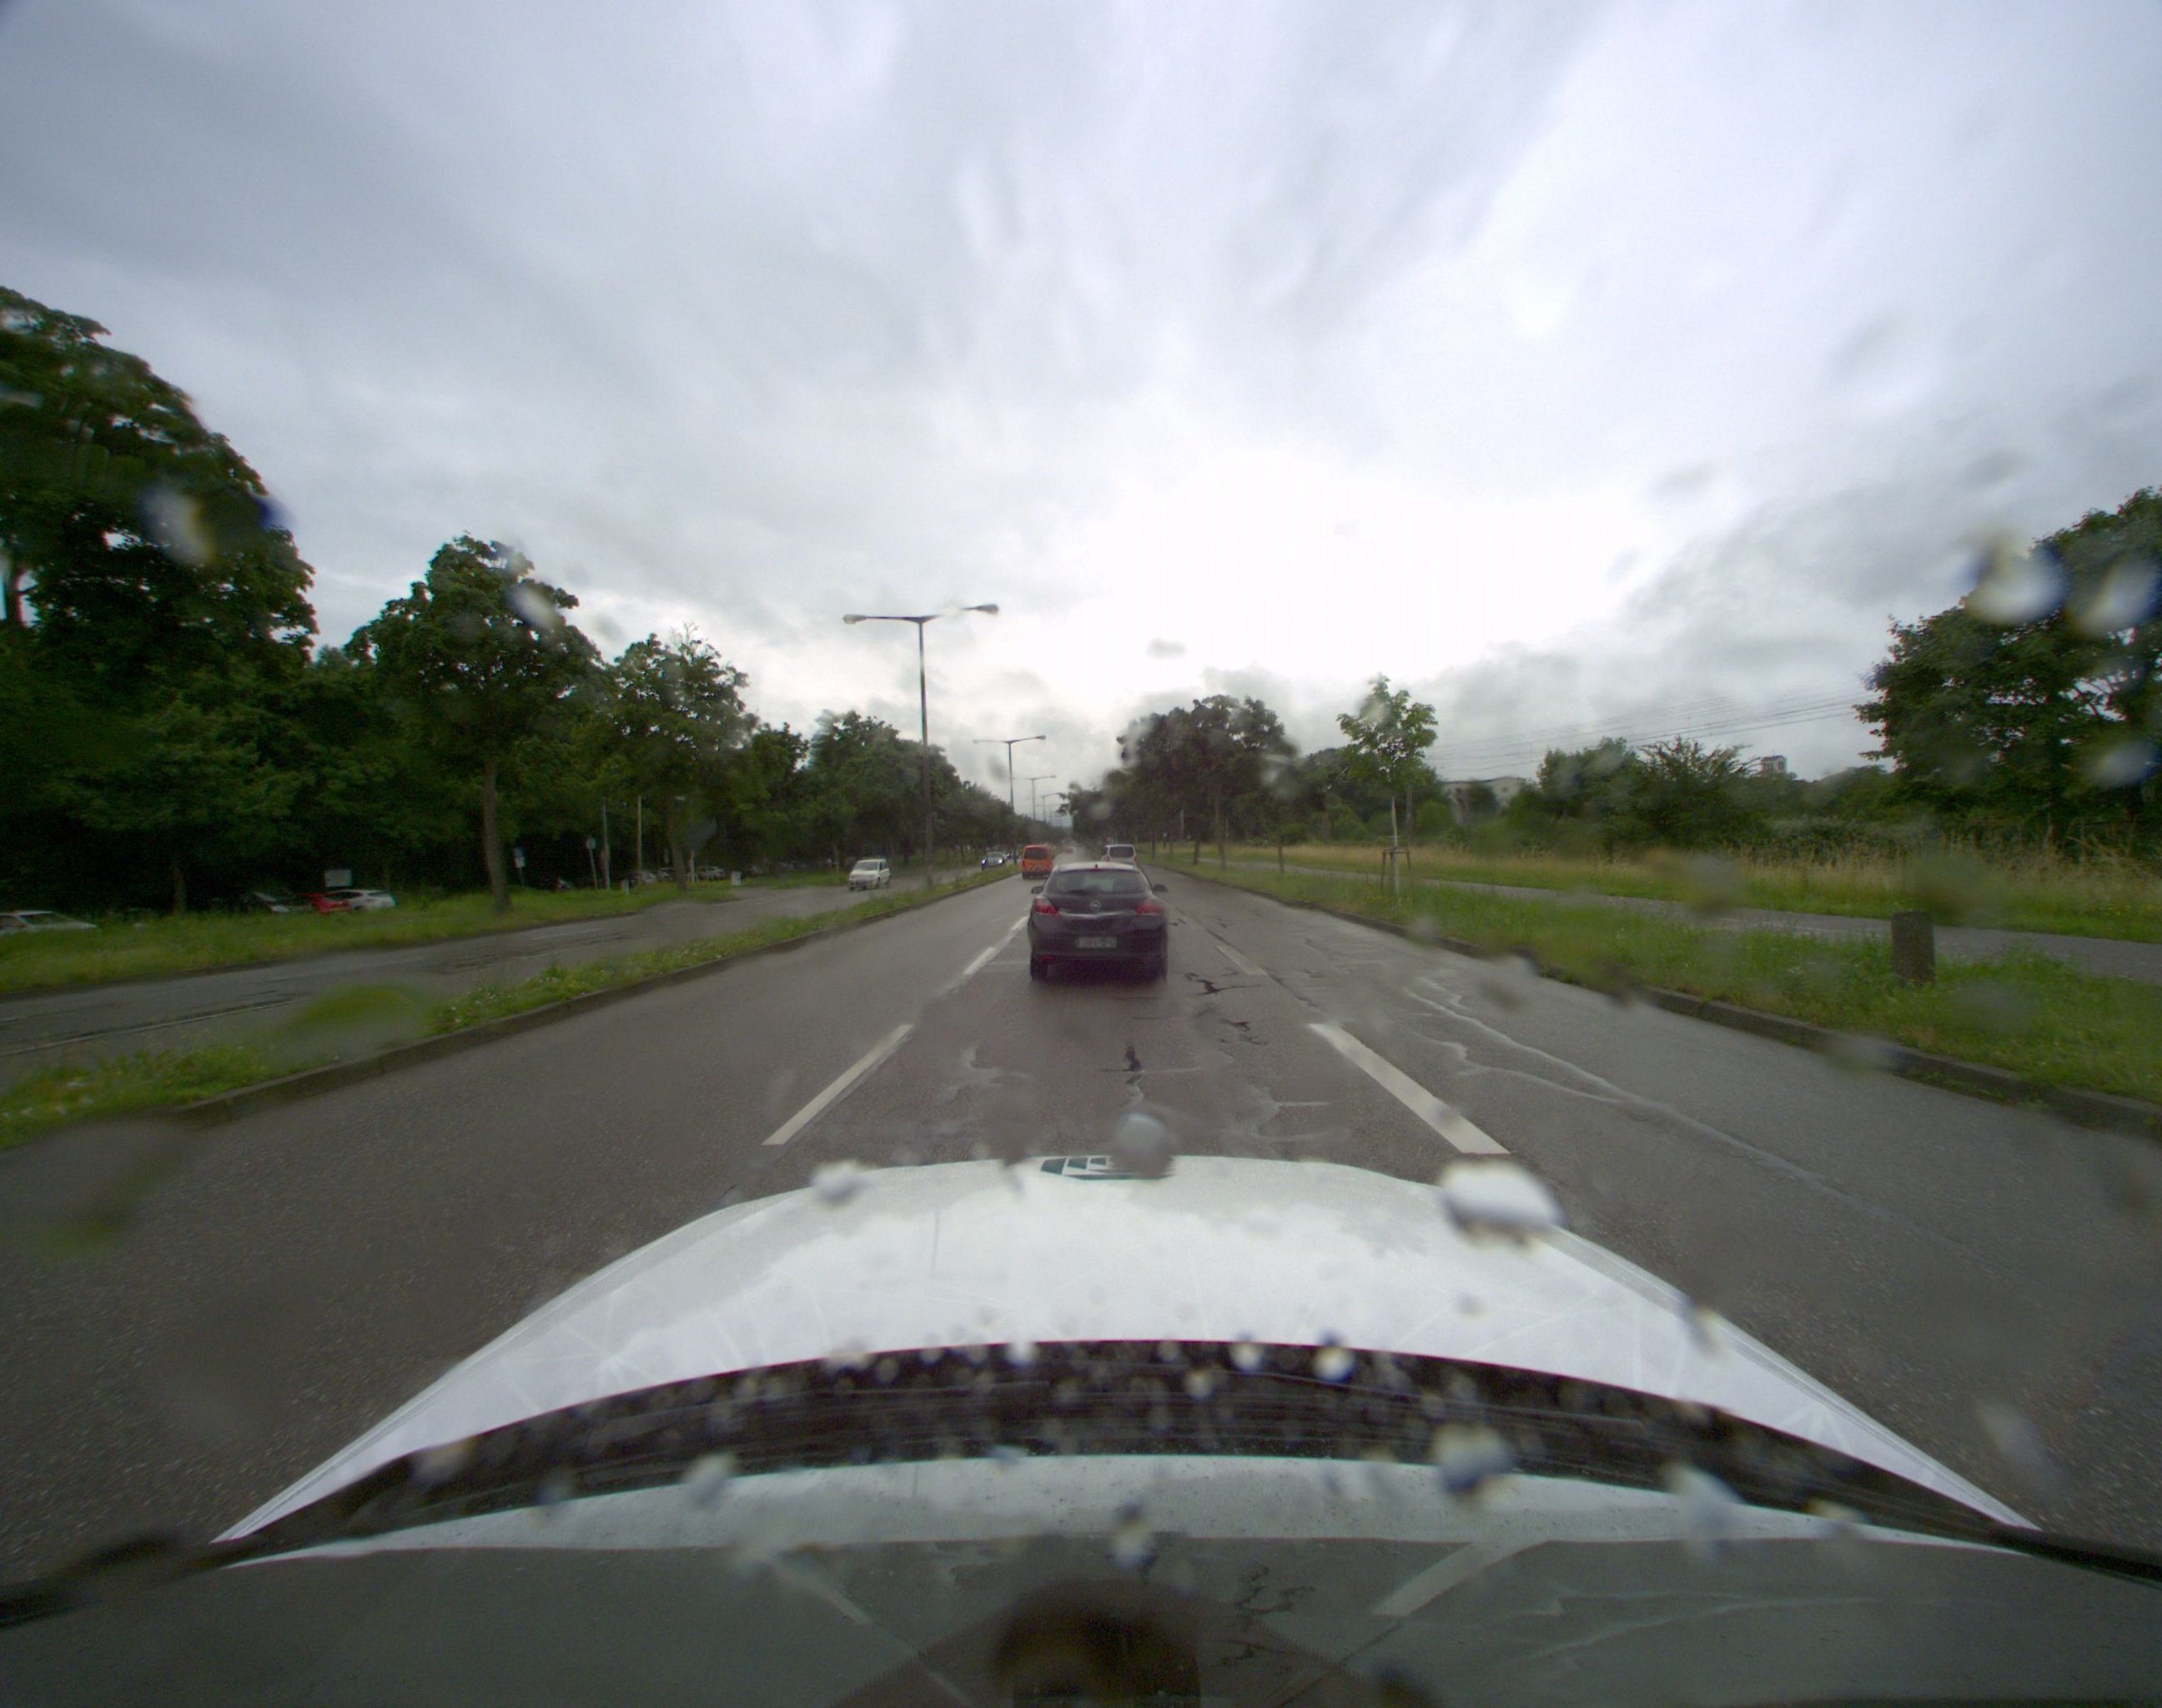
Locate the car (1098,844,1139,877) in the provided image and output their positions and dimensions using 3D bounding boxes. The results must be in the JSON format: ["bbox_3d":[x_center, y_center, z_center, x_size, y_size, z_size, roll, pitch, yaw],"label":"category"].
[{"bbox_3d":[2.303,0.404,51.244,2.054,1.974,4.603,-1,-1,-3],"label":"car"}]

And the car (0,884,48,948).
[{"bbox_3d":[-37.079,2.118,26.532,3.979,2.013,1.997,-2,0,-4],"label":"car"}]

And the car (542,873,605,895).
[{"bbox_3d":[-38.139,2.248,61.271,3.727,1.426,1.486,-2,0,-4],"label":"car"}]

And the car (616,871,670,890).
[{"bbox_3d":[-38.484,2.331,71.589,3.828,1.452,1.523,-2,0,-4],"label":"car"}]

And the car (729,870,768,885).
[{"bbox_3d":[-38.467,2.691,94.211,3.828,1.452,1.523,-2,0,-4],"label":"car"}]

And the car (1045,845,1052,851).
[{"bbox_3d":[-9.244,-1.639,232.400,1.714,1.529,3.810,-2,0,1],"label":"car"}]

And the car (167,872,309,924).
[{"bbox_3d":[-37.308,1.914,36.130,3.979,2.013,1.997,-2,0,-4],"label":"car"}]

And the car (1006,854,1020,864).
[{"bbox_3d":[-11.253,0.805,134.944,1.714,1.529,3.810,-2,0,1],"label":"car"}]

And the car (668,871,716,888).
[{"bbox_3d":[-37.860,2.432,79.320,3.828,1.452,1.523,-2,0,-4],"label":"car"}]

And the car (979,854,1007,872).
[{"bbox_3d":[-7.478,0.730,69.337,1.821,1.450,3.810,-2,0,1],"label":"car"}]

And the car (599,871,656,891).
[{"bbox_3d":[-38.323,2.288,68.910,3.828,1.452,1.523,-2,0,-4],"label":"car"}]

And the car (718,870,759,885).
[{"bbox_3d":[-38.591,2.655,91.801,3.828,1.452,1.523,-2,0,-4],"label":"car"}]

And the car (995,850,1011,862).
[{"bbox_3d":[-10.624,0.262,110.773,1.714,1.529,3.810,-2,1,1],"label":"car"}]

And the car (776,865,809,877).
[{"bbox_3d":[-37.736,2.204,106.463,3.841,1.452,1.517,-2,0,-14],"label":"car"}]

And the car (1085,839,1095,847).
[{"bbox_3d":[2.437,-2.918,218.582,2.507,2.052,5.293,1,0,0],"label":"car"}]

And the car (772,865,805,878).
[{"bbox_3d":[-37.566,2.193,104.653,3.841,1.452,1.517,-2,0,-14],"label":"car"}]

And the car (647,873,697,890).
[{"bbox_3d":[-38.532,2.580,76.801,3.828,1.452,1.523,-2,0,-4],"label":"car"}]

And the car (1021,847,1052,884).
[{"bbox_3d":[-2.575,0.652,47.261,1.731,2.019,4.843,1,0,-3],"label":"car"}]

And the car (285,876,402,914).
[{"bbox_3d":[-37.180,2.067,41.135,3.979,1.640,1.909,-2,0,-4],"label":"car"}]

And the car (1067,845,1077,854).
[{"bbox_3d":[-2.242,-1.086,197.326,1.985,1.879,4.004,-1,0,4],"label":"car"}]

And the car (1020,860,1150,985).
[{"bbox_3d":[0.165,0.796,11.116,1.457,1.329,3.762,-1,0,4],"label":"car"}]

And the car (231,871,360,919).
[{"bbox_3d":[-37.232,1.925,38.695,3.979,2.013,1.997,-2,0,-4],"label":"car"}]

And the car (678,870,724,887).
[{"bbox_3d":[-38.157,2.473,81.807,3.828,1.452,1.523,-2,0,-4],"label":"car"}]

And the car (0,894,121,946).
[{"bbox_3d":[-37.304,2.342,28.829,3.979,1.618,1.997,-2,0,-4],"label":"car"}]

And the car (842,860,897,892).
[{"bbox_3d":[-11.052,1.120,42.789,1.676,1.554,4.003,-1,0,3],"label":"car"}]

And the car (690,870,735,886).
[{"bbox_3d":[-38.178,2.524,84.414,3.828,1.452,1.523,-2,0,-4],"label":"car"}]

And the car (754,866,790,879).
[{"bbox_3d":[-37.732,2.242,99.503,3.837,1.452,1.519,-2,0,-11],"label":"car"}]
